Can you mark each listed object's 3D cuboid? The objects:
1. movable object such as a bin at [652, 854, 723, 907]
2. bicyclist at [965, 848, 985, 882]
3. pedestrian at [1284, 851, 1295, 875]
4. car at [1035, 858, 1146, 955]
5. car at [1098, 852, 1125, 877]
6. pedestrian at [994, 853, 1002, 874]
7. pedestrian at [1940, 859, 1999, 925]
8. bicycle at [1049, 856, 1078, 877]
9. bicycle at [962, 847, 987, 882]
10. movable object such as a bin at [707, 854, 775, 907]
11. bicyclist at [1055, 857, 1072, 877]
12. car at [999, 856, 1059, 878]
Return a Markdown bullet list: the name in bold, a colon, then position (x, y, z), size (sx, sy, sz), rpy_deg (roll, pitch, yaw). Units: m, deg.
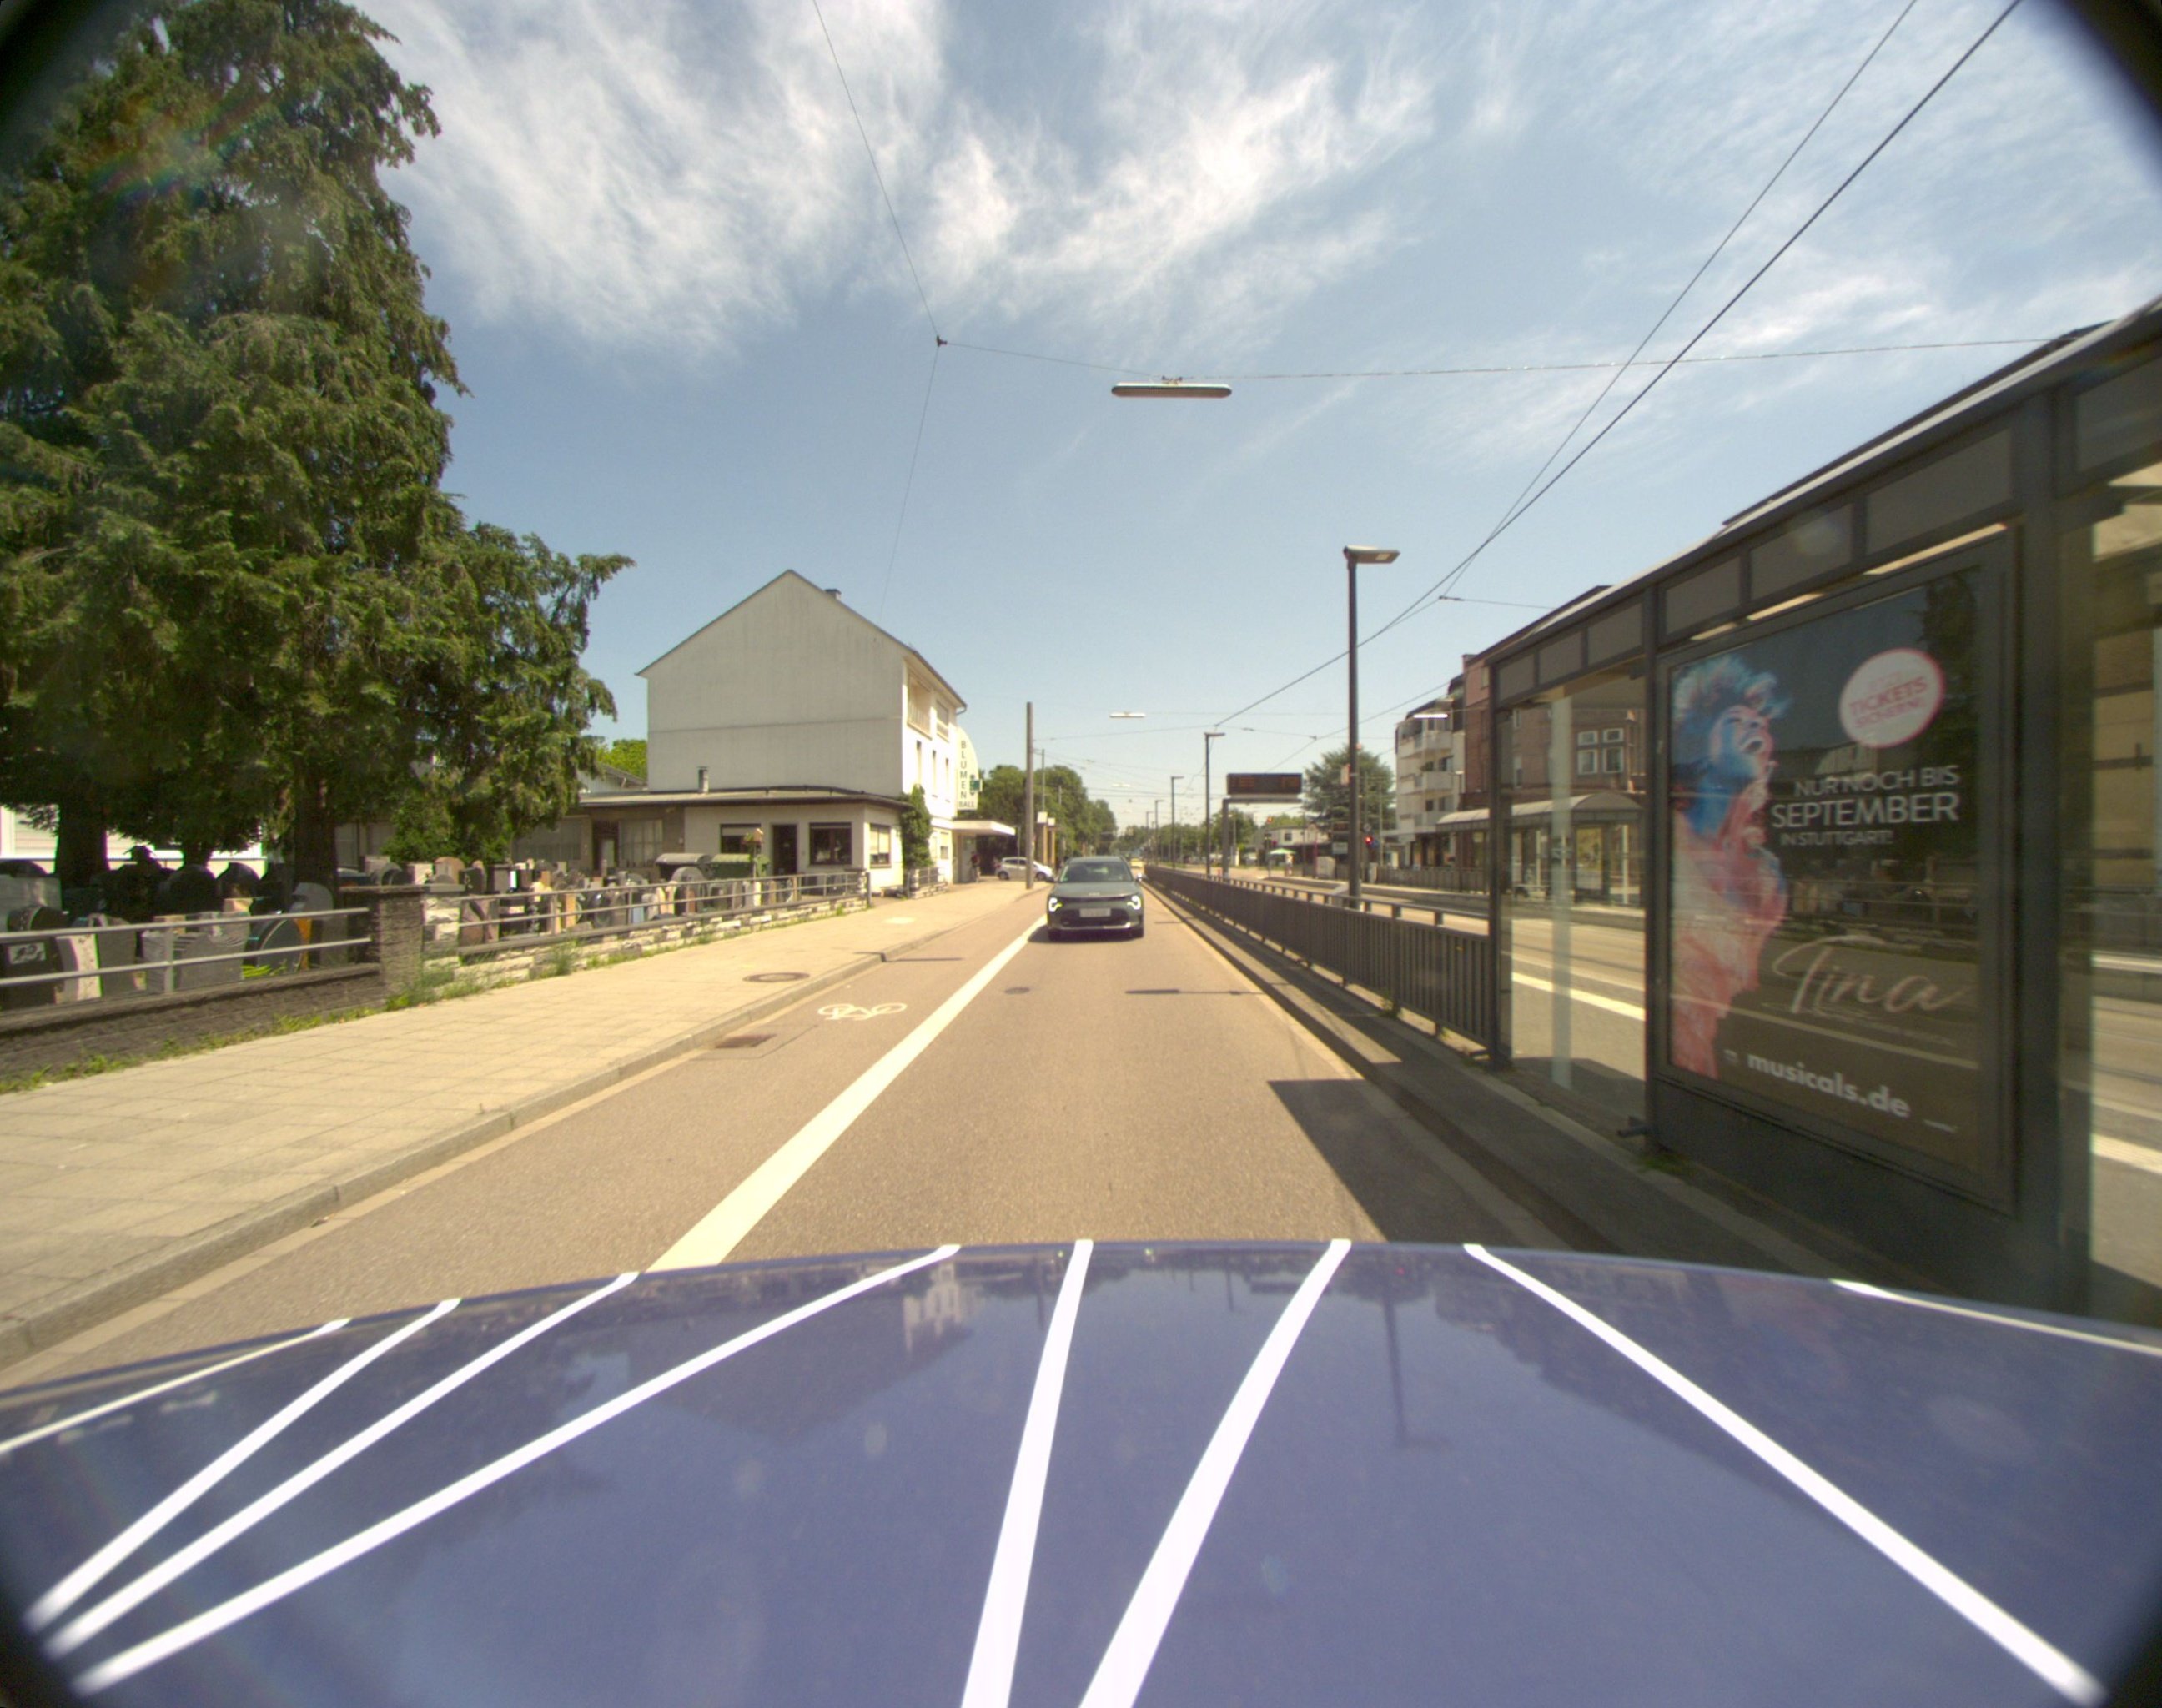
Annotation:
- **movable object such as a bin**: position (-11.343, 0.751, 21.947), size (1.390, 1.472, 1.152), rpy_deg (0, 0, 6)
- **bicyclist**: position (-6.049, 0.618, 43.349), size (0.790, 1.863, 0.888), rpy_deg (2, 0, 10)
- **pedestrian**: position (14.666, 0.621, 53.371), size (0.597, 1.615, 0.676), rpy_deg (1, 1, 3)
- **car**: position (0.284, 0.896, 14.851), size (1.827, 1.546, 4.488), rpy_deg (-1, 0, 3)
- **car**: position (2.095, 0.699, 53.224), size (1.749, 1.546, 4.487), rpy_deg (-3, 0, 1)
- **pedestrian**: position (-6.497, 0.751, 59.219), size (0.536, 1.588, 0.425), rpy_deg (-2, 1, -11)
- **pedestrian**: position (21.821, 0.921, 18.676), size (0.604, 1.586, 0.715), rpy_deg (0, 1, 0)
- **bicycle**: position (-1.438, 1.053, 61.776), size (2.054, 1.580, 0.889), rpy_deg (4, 0, -29)
- **bicycle**: position (-6.045, 0.587, 43.349), size (0.799, 1.889, 1.960), rpy_deg (2, 0, 10)
- **movable object such as a bin**: position (-9.726, 0.742, 21.779), size (1.390, 1.472, 1.151), rpy_deg (0, 0, 3)
- **bicyclist**: position (-1.392, 1.071, 61.804), size (0.987, 1.568, 0.866), rpy_deg (4, 0, -29)
- **car**: position (-3.589, 0.909, 52.753), size (3.995, 1.508, 1.698), rpy_deg (0, 0, 4)
